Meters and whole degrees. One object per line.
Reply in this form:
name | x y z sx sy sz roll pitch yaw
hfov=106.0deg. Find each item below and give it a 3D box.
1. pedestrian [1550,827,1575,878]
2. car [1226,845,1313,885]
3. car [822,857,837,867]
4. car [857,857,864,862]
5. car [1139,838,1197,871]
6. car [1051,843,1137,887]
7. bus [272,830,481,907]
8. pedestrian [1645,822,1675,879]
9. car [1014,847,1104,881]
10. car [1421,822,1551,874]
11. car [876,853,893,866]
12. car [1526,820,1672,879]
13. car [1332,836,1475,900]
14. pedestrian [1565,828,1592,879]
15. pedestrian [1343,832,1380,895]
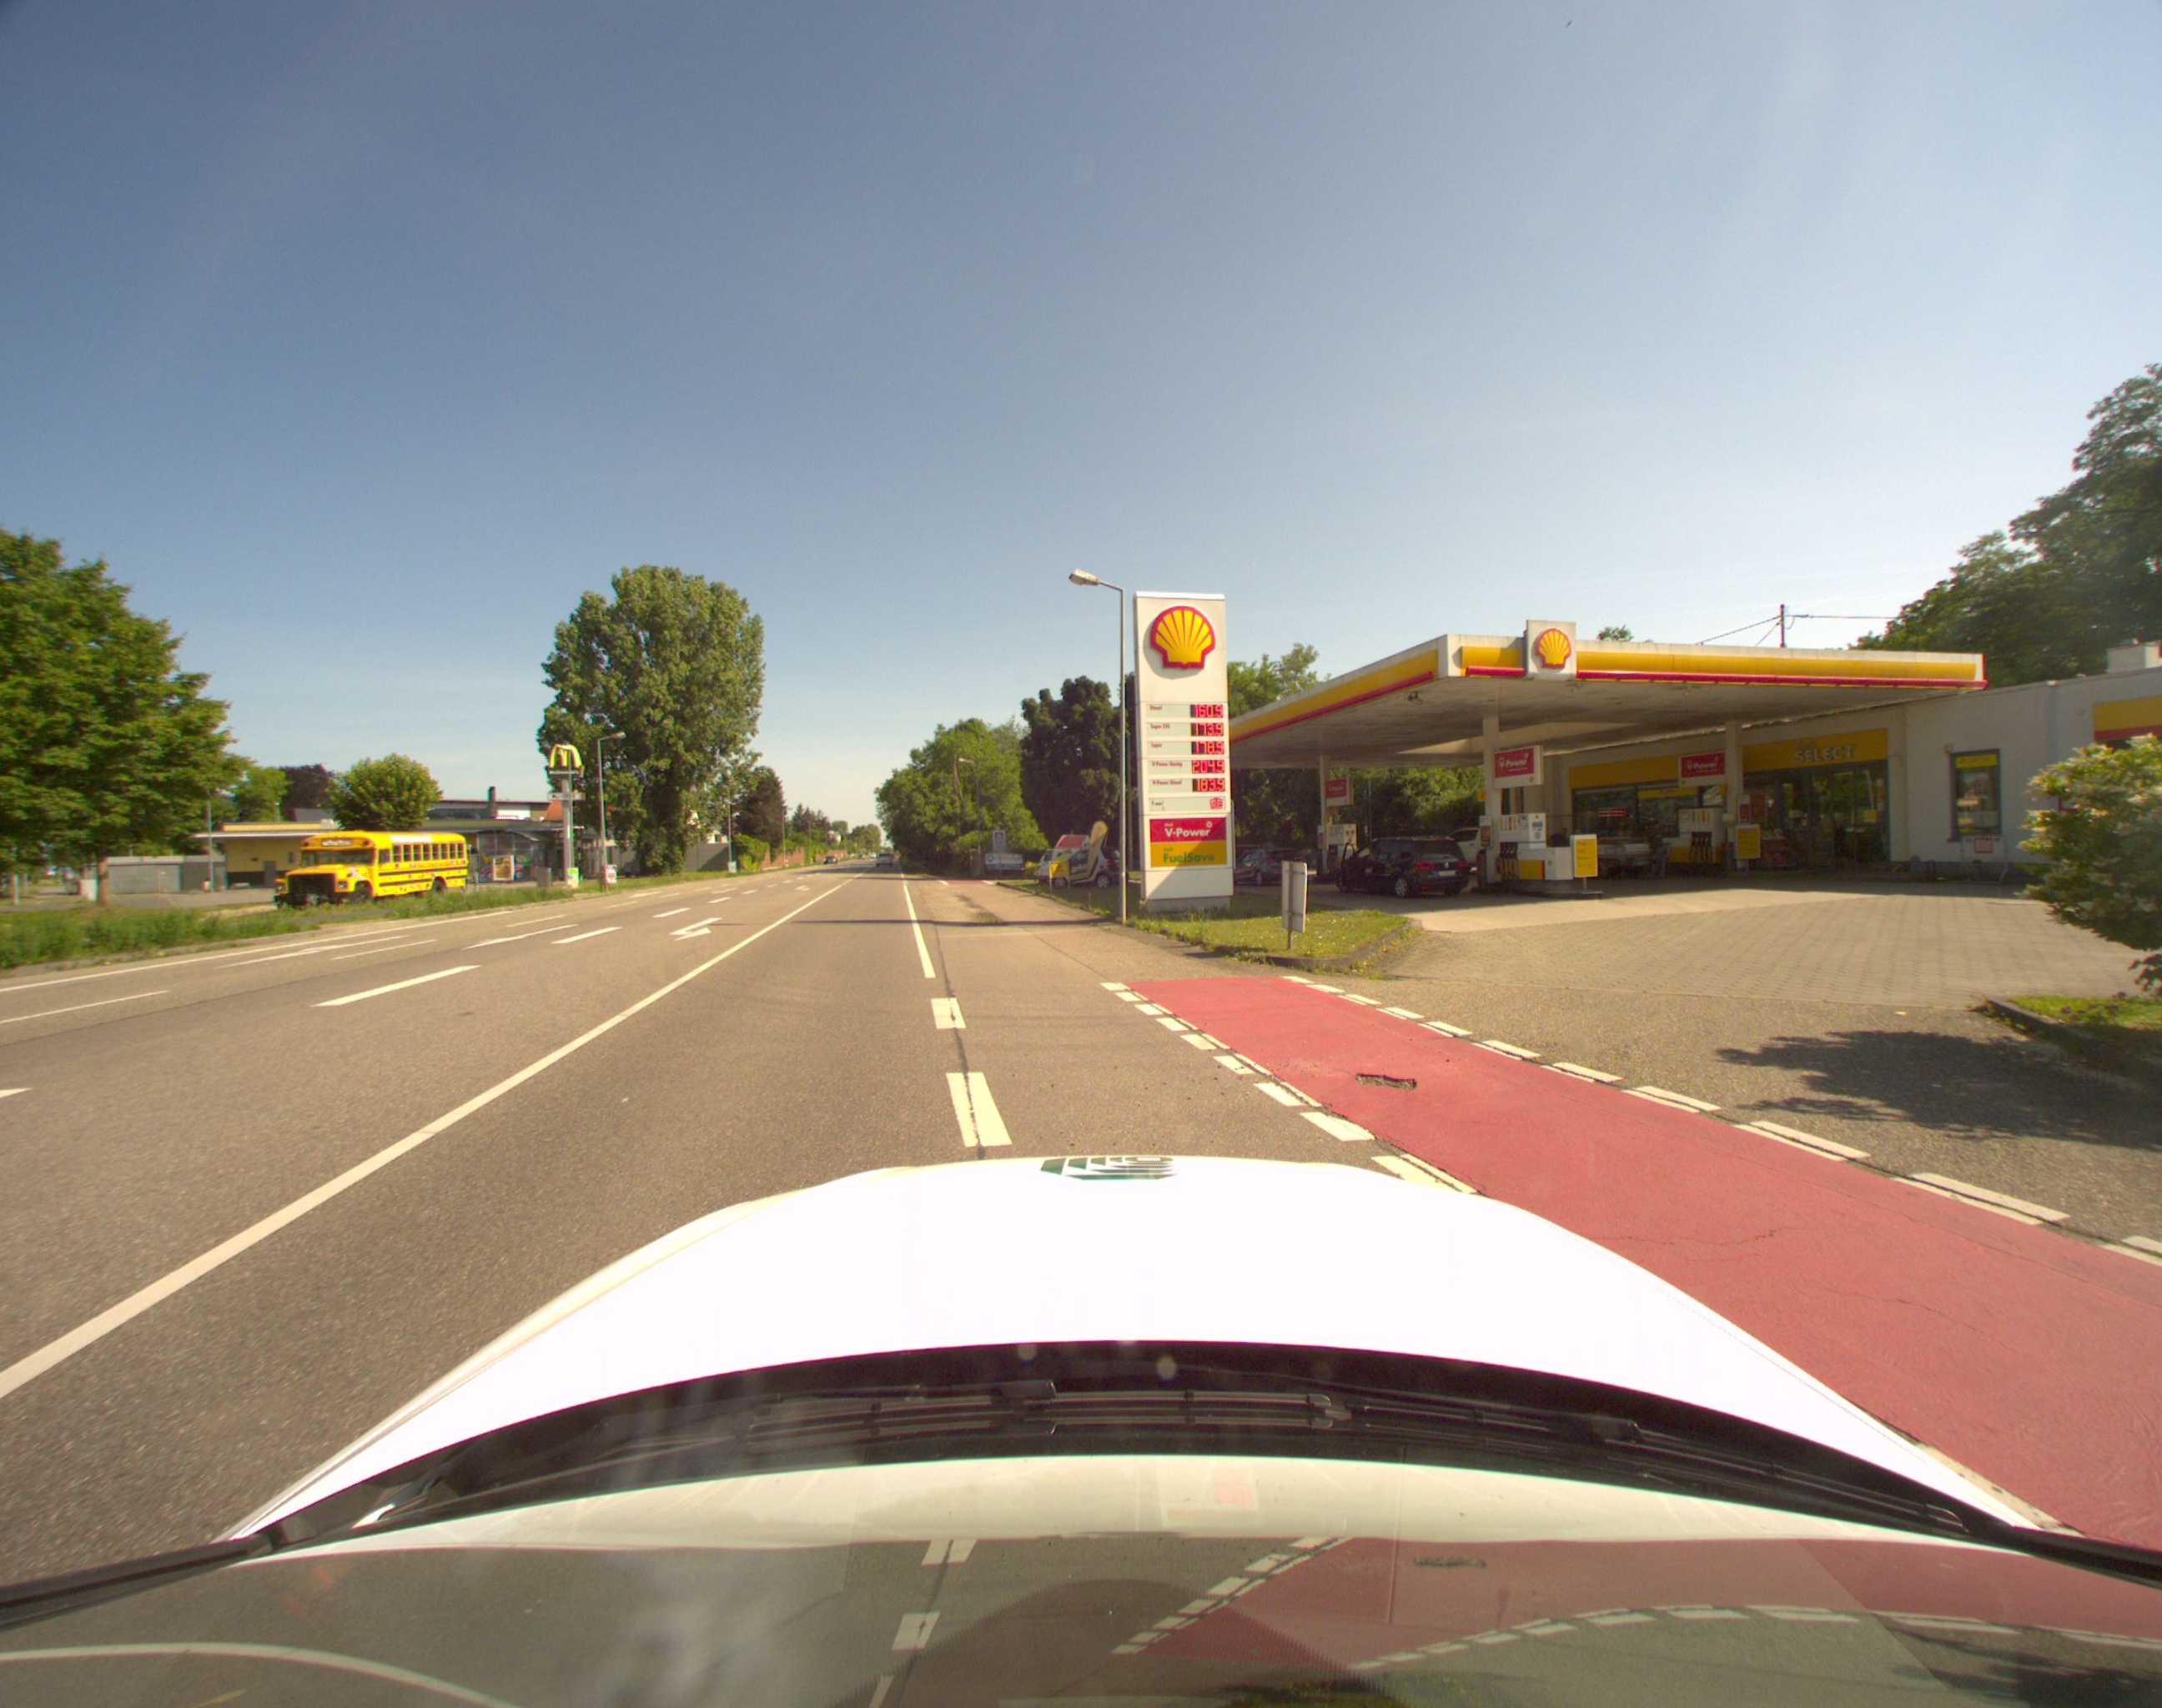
pedestrian | 15.678 -0.060 26.527 0.499 1.631 0.474 -2 0 -9
car | 7.003 0.394 30.658 1.798 1.360 3.835 -2 0 -10
car | -41.315 1.366 133.815 1.849 1.496 4.890 -3 0 -12
car | -64.622 1.615 238.587 1.848 1.541 4.206 0 0 -12
car | 4.882 0.055 46.208 1.997 1.766 3.979 0 -1 -15
car | 0.488 0.430 29.848 2.696 1.530 1.588 -2 -2 31
bus | -27.806 0.531 32.828 2.583 2.679 8.952 0 0 -14
pedestrian | 17.384 -0.101 24.450 0.474 1.668 0.499 -2 0 -12
car | -1.035 0.461 38.490 4.000 1.530 1.575 0 -1 -20
car | 15.577 -0.226 31.647 1.854 1.837 4.757 -2 0 -14
car | -23.262 0.628 96.654 1.848 1.541 4.206 0 0 -12
car | 16.683 -0.125 26.484 1.827 1.728 3.988 -2 0 -9
car | 8.864 0.341 22.720 1.762 1.578 3.859 -2 0 -14
pedestrian | 15.689 -0.015 25.677 0.499 1.593 0.474 -2 0 -9
pedestrian | 7.900 0.267 22.977 0.671 1.729 0.811 -2 0 -4
